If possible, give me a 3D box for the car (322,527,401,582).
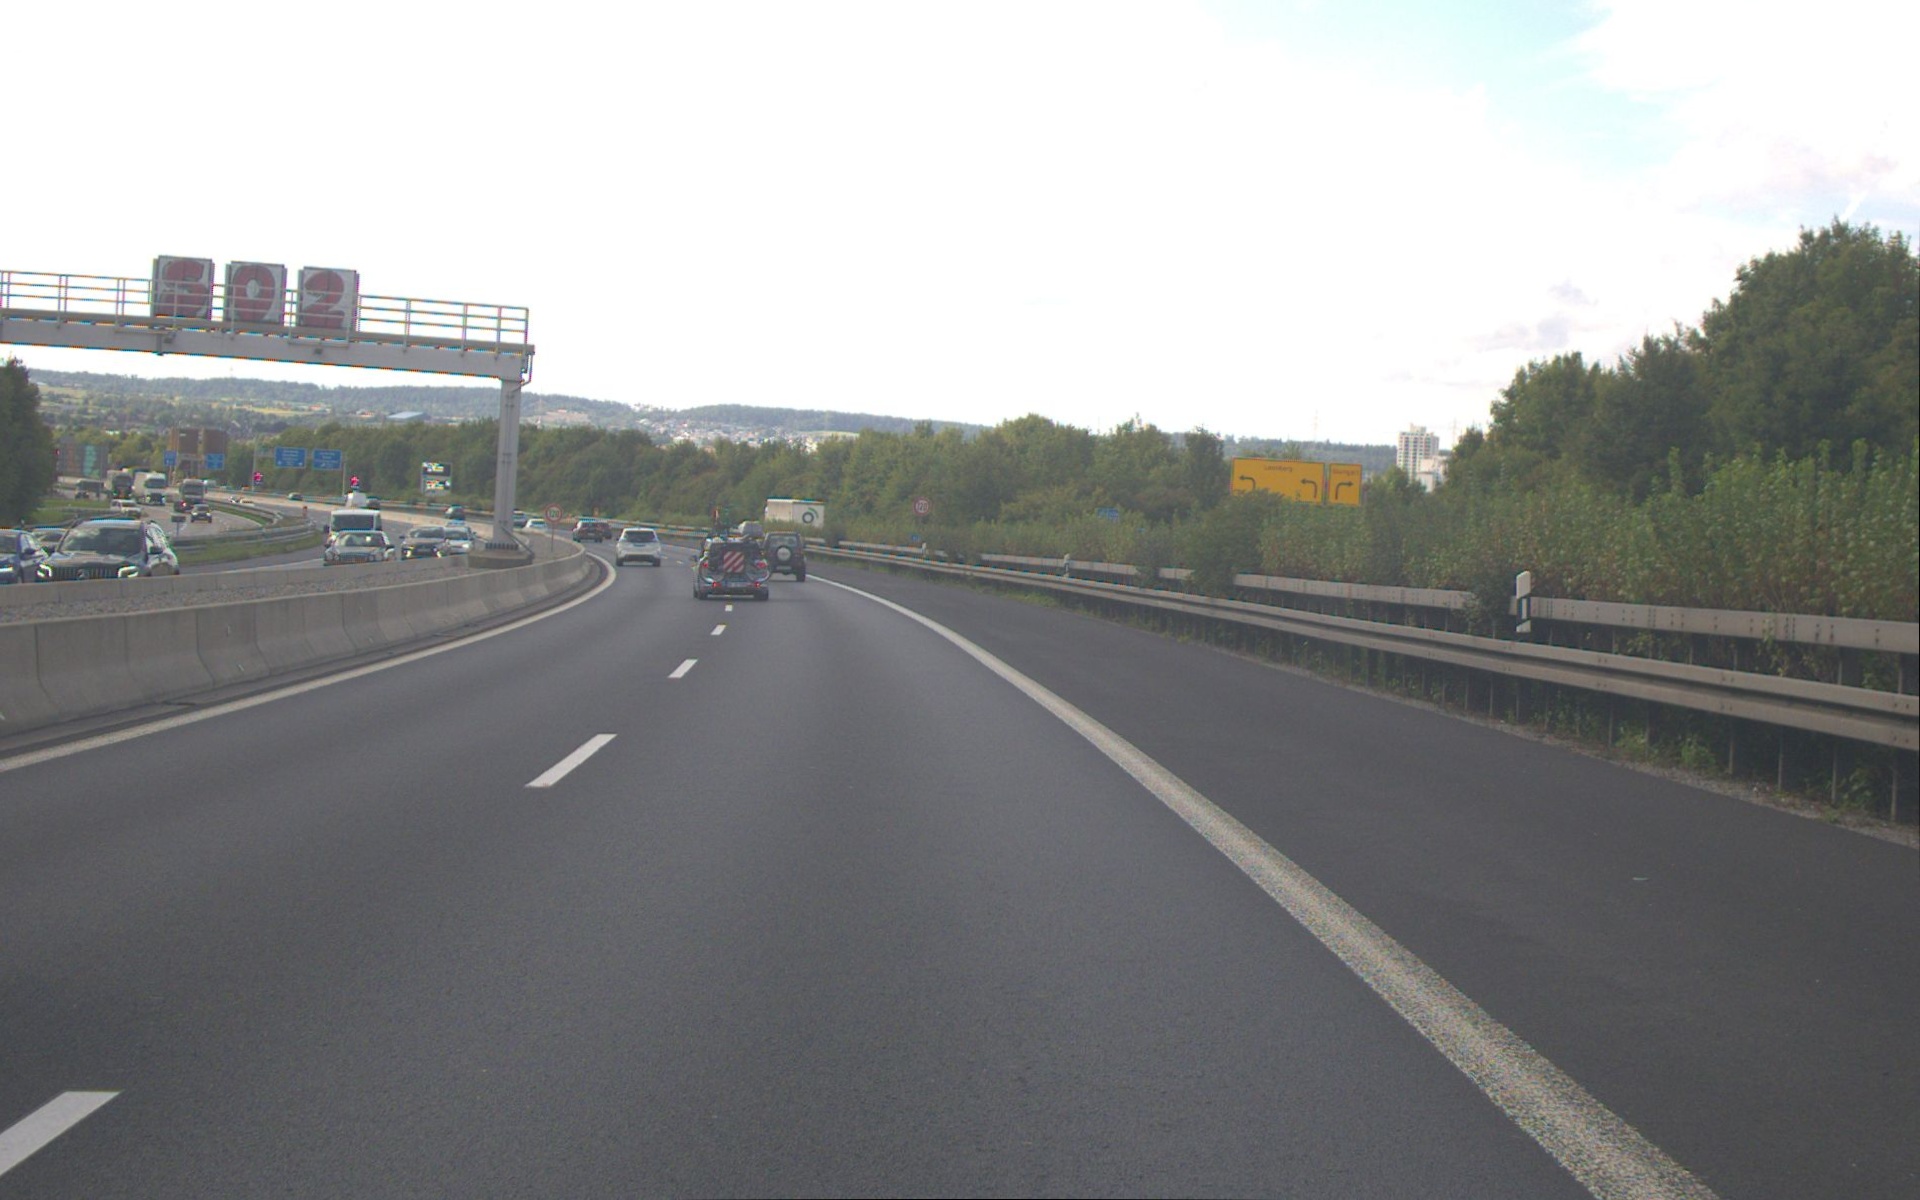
[{"bbox_3d":[-17.116,-1.314,98.461,1.698,1.534,4.502,1,1,-3],"label":"car"}]

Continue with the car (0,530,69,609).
[{"bbox_3d":[-19.626,-0.659,69.799,1.993,1.534,4.740,1,1,-2],"label":"car"}]

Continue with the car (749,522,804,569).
[{"bbox_3d":[-6.462,-1.929,120.859,1.586,1.591,4.097,1,1,-7],"label":"car"}]

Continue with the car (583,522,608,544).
[{"bbox_3d":[-27.113,-5.001,255.377,1.604,1.552,4.001,1,0,-9],"label":"car"}]

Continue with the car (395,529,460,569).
[{"bbox_3d":[-21.104,-2.044,136.374,1.993,1.531,5.286,1,1,-3],"label":"car"}]

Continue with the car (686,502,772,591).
[{"bbox_3d":[-5.841,-1.379,87.218,2.030,2.144,4.001,1,2,-2],"label":"car"}]

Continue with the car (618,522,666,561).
[{"bbox_3d":[-14.249,-2.598,153.833,1.993,1.678,4.001,1,0,-7],"label":"car"}]

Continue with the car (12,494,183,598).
[{"bbox_3d":[-14.750,-0.930,58.992,1.876,1.692,4.315,1,1,-1],"label":"car"}]

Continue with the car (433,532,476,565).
[{"bbox_3d":[-22.605,-2.322,153.676,1.565,1.445,3.889,1,1,-4],"label":"car"}]
